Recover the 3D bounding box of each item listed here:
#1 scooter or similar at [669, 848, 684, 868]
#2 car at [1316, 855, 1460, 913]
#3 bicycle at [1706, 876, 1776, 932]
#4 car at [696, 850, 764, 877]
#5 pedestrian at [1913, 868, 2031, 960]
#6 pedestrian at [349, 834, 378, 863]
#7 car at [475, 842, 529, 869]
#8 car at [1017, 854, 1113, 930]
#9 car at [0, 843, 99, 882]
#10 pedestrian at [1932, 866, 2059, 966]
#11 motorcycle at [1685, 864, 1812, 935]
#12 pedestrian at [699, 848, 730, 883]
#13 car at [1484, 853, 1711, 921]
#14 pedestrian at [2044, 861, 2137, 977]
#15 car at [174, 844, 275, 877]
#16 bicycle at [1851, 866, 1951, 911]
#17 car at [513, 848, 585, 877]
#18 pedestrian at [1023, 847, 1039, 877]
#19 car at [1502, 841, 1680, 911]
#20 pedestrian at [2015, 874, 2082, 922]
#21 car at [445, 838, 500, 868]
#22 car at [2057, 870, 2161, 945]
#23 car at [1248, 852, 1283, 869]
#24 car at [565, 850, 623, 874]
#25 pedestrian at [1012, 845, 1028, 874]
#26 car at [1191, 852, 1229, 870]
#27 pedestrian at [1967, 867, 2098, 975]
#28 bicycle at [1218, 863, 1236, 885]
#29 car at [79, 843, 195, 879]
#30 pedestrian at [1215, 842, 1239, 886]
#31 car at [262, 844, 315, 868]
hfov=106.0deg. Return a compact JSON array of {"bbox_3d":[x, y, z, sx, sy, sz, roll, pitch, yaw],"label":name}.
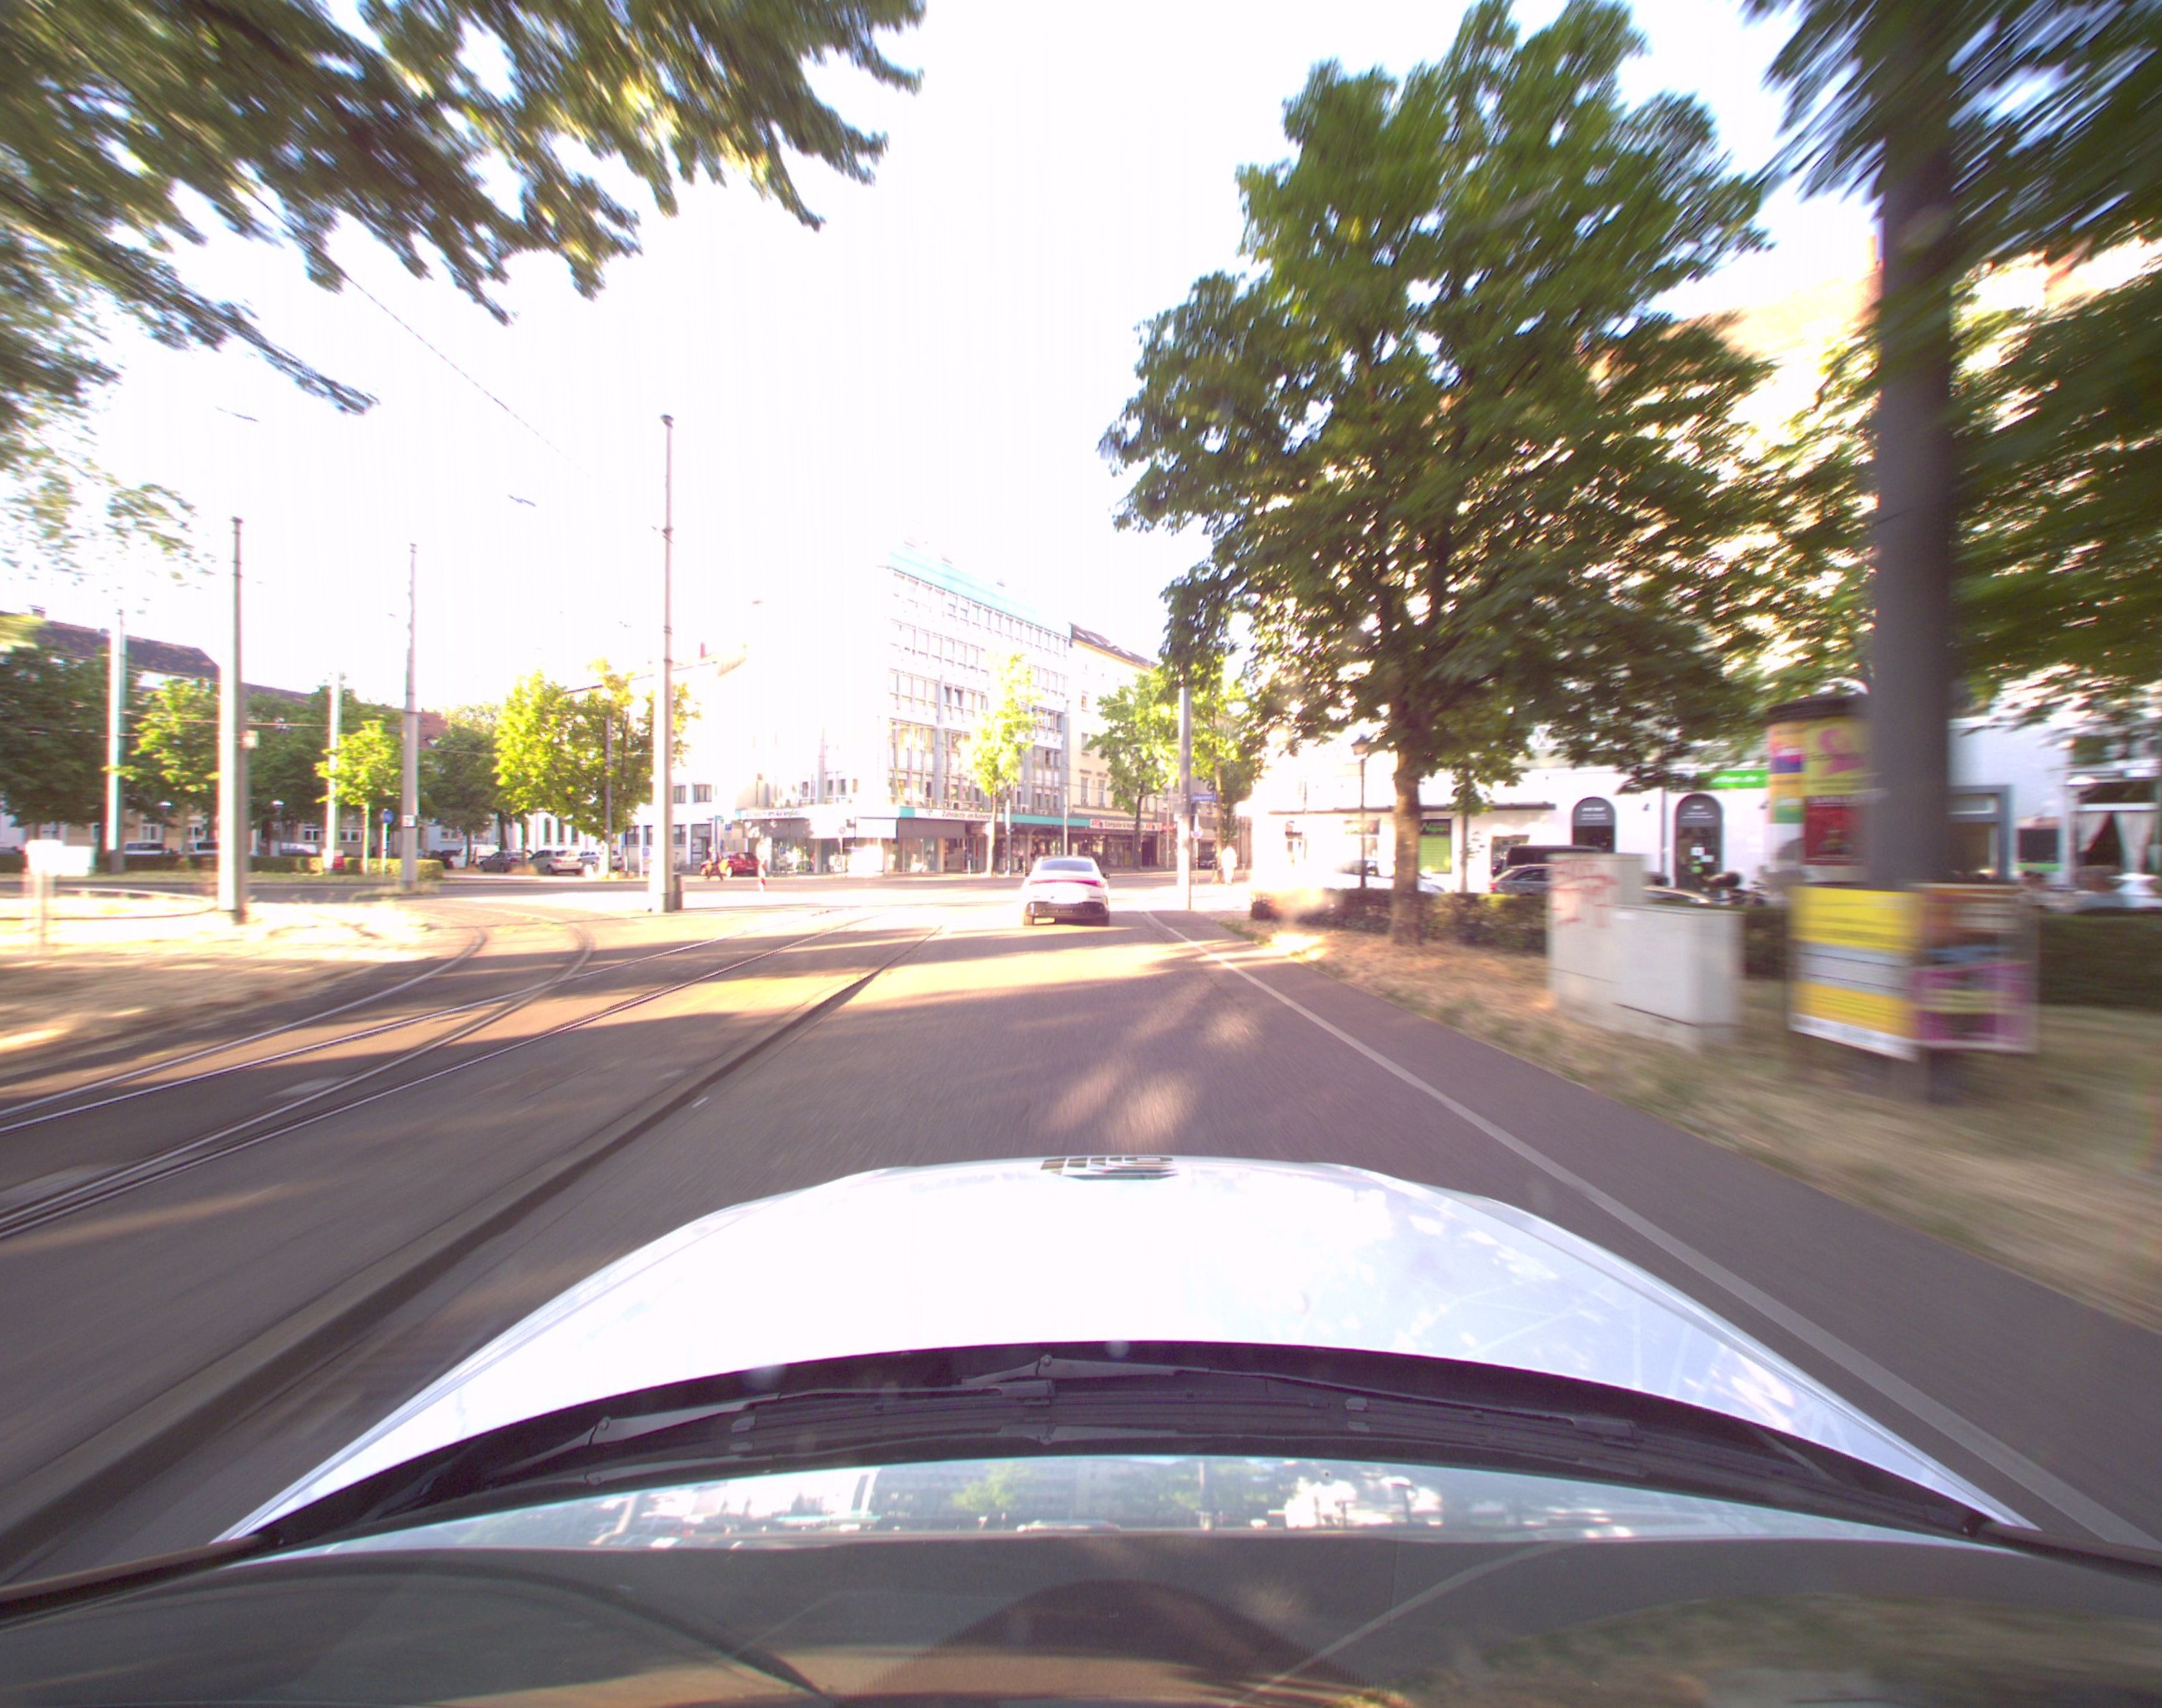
[{"bbox_3d":[-28.859,0.282,58.033,0.758,1.398,1.908,1,0,-32],"label":"scooter or similar"},{"bbox_3d":[8.689,0.795,23.090,3.531,1.514,1.750,0,0,32],"label":"car"},{"bbox_3d":[11.771,0.866,14.515,1.535,0.929,0.549,1,-1,-35],"label":"bicycle"},{"bbox_3d":[-20.726,0.561,48.063,3.949,1.485,2.040,1,0,39],"label":"car"},{"bbox_3d":[13.421,0.880,12.299,0.940,1.242,0.667,5,2,25],"label":"pedestrian"},{"bbox_3d":[-50.319,-0.366,57.108,1.446,2.014,1.126,1,-1,34],"label":"pedestrian"},{"bbox_3d":[-44.729,0.119,62.901,3.949,2.014,2.012,0,0,31],"label":"car"},{"bbox_3d":[-0.273,0.741,17.950,1.861,1.469,4.043,0,0,1],"label":"car"},{"bbox_3d":[-57.365,0.436,44.652,1.979,2.013,4.015,1,0,14],"label":"car"},{"bbox_3d":[12.987,0.854,11.603,0.940,1.283,0.667,5,2,25],"label":"pedestrian"},{"bbox_3d":[13.918,0.944,16.999,2.241,1.368,0.946,2,-1,-17],"label":"motorcycle"},{"bbox_3d":[-18.206,0.564,40.430,1.169,1.703,0.897,1,-1,-40],"label":"pedestrian"},{"bbox_3d":[12.763,0.759,20.394,4.613,1.514,1.750,0,0,32],"label":"car"},{"bbox_3d":[11.321,0.700,9.153,0.561,1.244,0.616,0,-1,42],"label":"pedestrian"},{"bbox_3d":[-55.445,0.396,52.804,1.979,2.013,4.015,1,0,14],"label":"car"},{"bbox_3d":[23.897,0.993,23.781,1.962,1.245,0.691,0,0,33],"label":"bicycle"},{"bbox_3d":[-32.621,0.504,49.959,3.950,1.684,2.012,1,0,28],"label":"car"},{"bbox_3d":[-3.472,0.540,56.315,0.789,2.014,0.739,1,-1,34],"label":"pedestrian"},{"bbox_3d":[15.444,0.616,24.870,4.454,1.963,2.036,0,0,32],"label":"car"},{"bbox_3d":[26.347,1.175,22.202,1.014,1.245,0.691,0,0,33],"label":"pedestrian"},{"bbox_3d":[-41.490,-0.069,55.545,3.949,2.014,2.012,1,0,38],"label":"car"},{"bbox_3d":[25.483,1.224,18.092,4.454,1.617,2.036,1,0,32],"label":"car"},{"bbox_3d":[19.802,0.652,87.359,1.943,1.639,4.842,4,2,33],"label":"car"},{"bbox_3d":[-33.628,0.545,56.247,3.948,1.530,2.013,1,0,36],"label":"car"},{"bbox_3d":[-4.228,0.406,56.656,0.789,2.014,0.739,1,-1,34],"label":"pedestrian"},{"bbox_3d":[12.134,0.625,76.513,1.943,1.640,4.025,1,0,34],"label":"car"},{"bbox_3d":[11.974,0.805,10.293,0.770,1.243,0.994,1,0,29],"label":"pedestrian"},{"bbox_3d":[7.367,0.986,41.066,0.351,1.076,1.709,1,0,30],"label":"bicycle"},{"bbox_3d":[-56.409,0.422,48.767,1.979,2.013,4.015,1,0,14],"label":"car"},{"bbox_3d":[6.833,0.478,38.067,0.833,2.014,0.851,1,-1,27],"label":"pedestrian"},{"bbox_3d":[-66.808,0.169,68.646,3.950,2.014,2.012,0,0,28],"label":"car"}]
